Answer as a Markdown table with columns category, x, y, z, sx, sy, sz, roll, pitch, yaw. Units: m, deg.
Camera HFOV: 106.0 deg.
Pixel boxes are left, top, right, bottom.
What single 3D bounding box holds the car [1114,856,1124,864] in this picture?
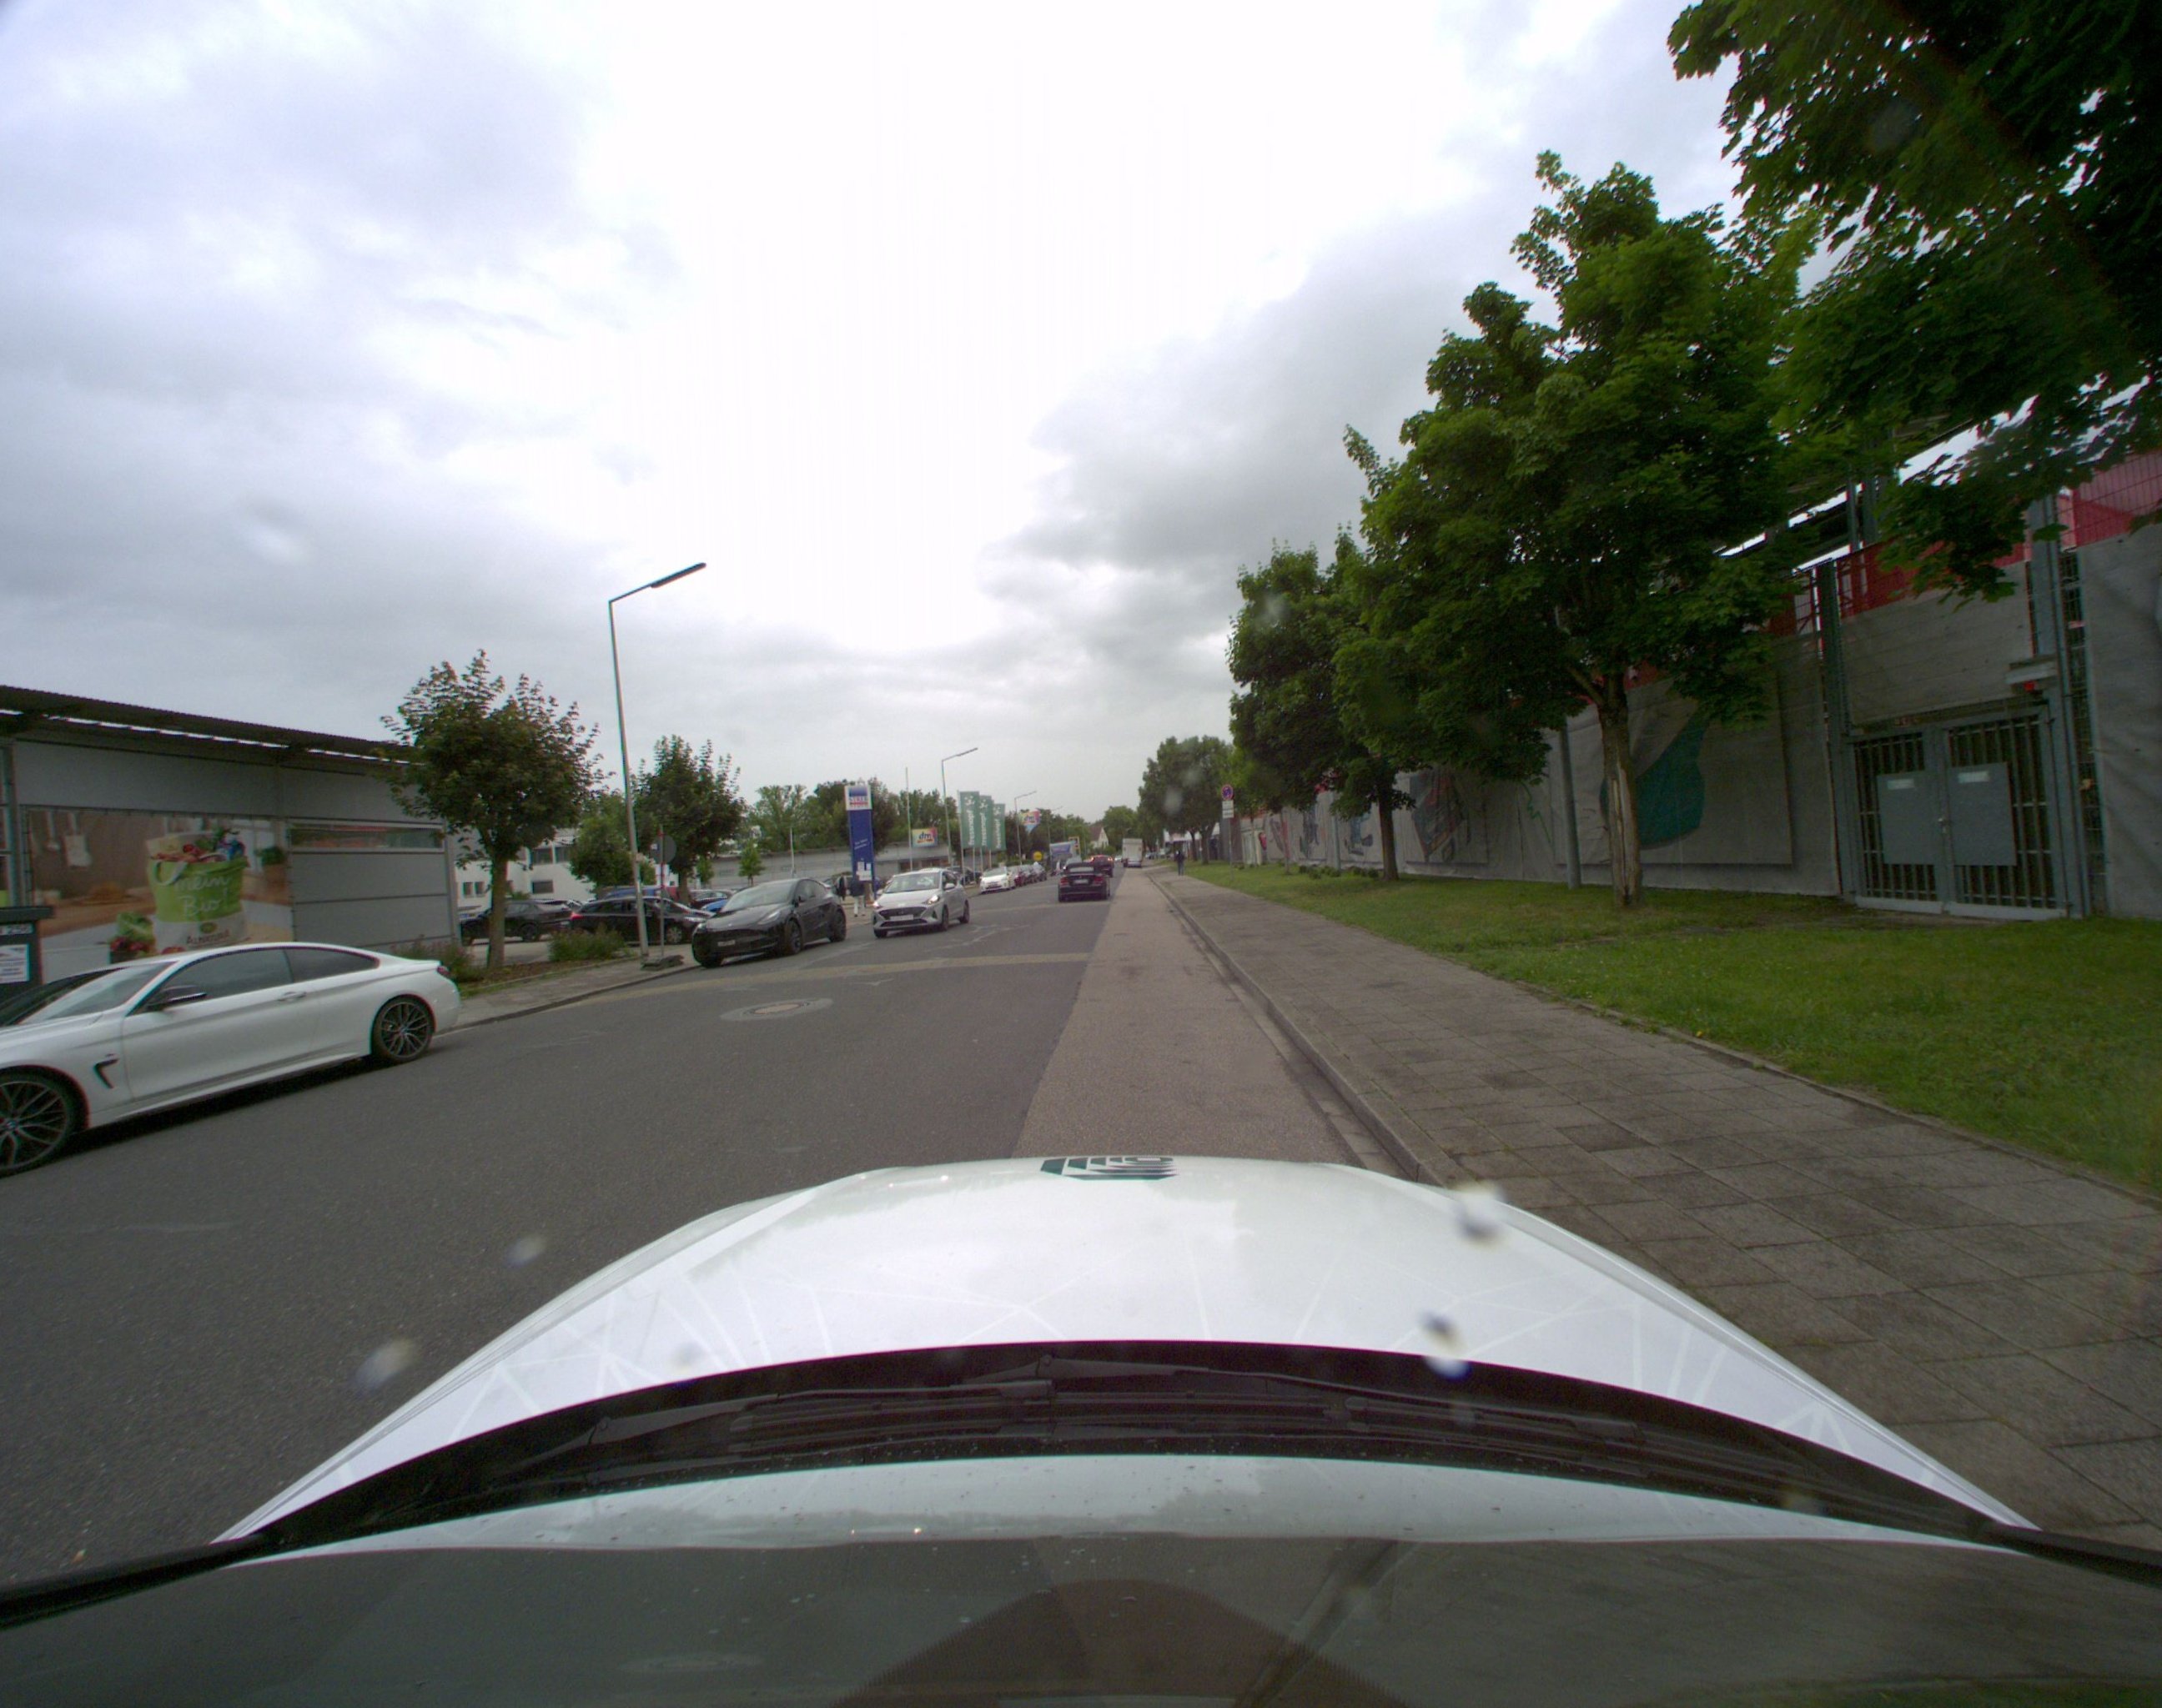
| category | x | y | z | sx | sy | sz | roll | pitch | yaw |
| --- | --- | --- | --- | --- | --- | --- | --- | --- | --- |
| car | 8.015 | 1.208 | 171.966 | 1.878 | 1.531 | 4.259 | -3 | 0 | 4 |

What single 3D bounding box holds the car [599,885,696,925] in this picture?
| category | x | y | z | sx | sy | sz | roll | pitch | yaw |
| --- | --- | --- | --- | --- | --- | --- | --- | --- | --- |
| car | -22.860 | 2.684 | 43.014 | 3.970 | 1.669 | 1.878 | -5 | 0 | 3 |

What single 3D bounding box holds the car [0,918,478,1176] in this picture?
| category | x | y | z | sx | sy | sz | roll | pitch | yaw |
| --- | --- | --- | --- | --- | --- | --- | --- | --- | --- |
| car | -7.727 | 1.514 | 6.784 | 1.692 | 1.367 | 4.521 | -9 | -1 | 3 |

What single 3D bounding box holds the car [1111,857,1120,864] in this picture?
| category | x | y | z | sx | sy | sz | roll | pitch | yaw |
| --- | --- | --- | --- | --- | --- | --- | --- | --- | --- |
| car | 7.863 | 1.450 | 187.050 | 1.878 | 1.531 | 4.259 | -3 | 0 | 4 |

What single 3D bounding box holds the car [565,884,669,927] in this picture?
| category | x | y | z | sx | sy | sz | roll | pitch | yaw |
| --- | --- | --- | --- | --- | --- | --- | --- | --- | --- |
| car | -23.083 | 2.548 | 40.607 | 3.970 | 1.669 | 1.878 | -5 | 0 | 3 |

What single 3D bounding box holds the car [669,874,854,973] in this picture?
| category | x | y | z | sx | sy | sz | roll | pitch | yaw |
| --- | --- | --- | --- | --- | --- | --- | --- | --- | --- |
| car | -6.662 | 1.370 | 17.625 | 1.940 | 1.526 | 4.404 | -9 | -1 | 2 |

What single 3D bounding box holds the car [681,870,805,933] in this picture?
| category | x | y | z | sx | sy | sz | roll | pitch | yaw |
| --- | --- | --- | --- | --- | --- | --- | --- | --- | --- |
| car | -13.039 | 1.823 | 31.639 | 3.922 | 2.013 | 1.759 | -5 | -1 | -4 |

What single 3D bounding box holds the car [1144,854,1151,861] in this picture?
| category | x | y | z | sx | sy | sz | roll | pitch | yaw |
| --- | --- | --- | --- | --- | --- | --- | --- | --- | --- |
| car | 18.040 | 0.925 | 221.014 | 1.878 | 1.683 | 4.259 | -3 | 0 | 4 |

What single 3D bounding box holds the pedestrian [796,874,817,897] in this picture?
| category | x | y | z | sx | sy | sz | roll | pitch | yaw |
| --- | --- | --- | --- | --- | --- | --- | --- | --- | --- |
| pedestrian | -26.048 | 2.972 | 77.275 | 1.394 | 2.013 | 1.197 | -5 | -1 | -37 |

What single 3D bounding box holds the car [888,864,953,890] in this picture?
| category | x | y | z | sx | sy | sz | roll | pitch | yaw |
| --- | --- | --- | --- | --- | --- | --- | --- | --- | --- |
| car | -11.325 | 1.613 | 57.658 | 4.125 | 1.463 | 1.897 | -5 | -1 | -2 |

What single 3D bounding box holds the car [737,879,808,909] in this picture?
| category | x | y | z | sx | sy | sz | roll | pitch | yaw |
| --- | --- | --- | --- | --- | --- | --- | --- | --- | --- |
| car | -21.095 | 2.721 | 55.764 | 3.970 | 1.669 | 1.878 | -5 | 0 | 3 |

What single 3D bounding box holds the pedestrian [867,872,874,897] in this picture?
| category | x | y | z | sx | sy | sz | roll | pitch | yaw |
| --- | --- | --- | --- | --- | --- | --- | --- | --- | --- |
| pedestrian | -13.835 | 1.999 | 53.466 | 0.329 | 1.570 | 0.502 | -3 | -1 | -8 |

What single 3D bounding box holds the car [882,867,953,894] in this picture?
| category | x | y | z | sx | sy | sz | roll | pitch | yaw |
| --- | --- | --- | --- | --- | --- | --- | --- | --- | --- |
| car | -10.543 | 1.679 | 52.825 | 4.195 | 1.463 | 1.950 | -3 | -1 | -4 |

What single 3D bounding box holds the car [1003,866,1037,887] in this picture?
| category | x | y | z | sx | sy | sz | roll | pitch | yaw |
| --- | --- | --- | --- | --- | --- | --- | --- | --- | --- |
| car | -4.633 | 1.707 | 62.276 | 1.890 | 1.367 | 4.004 | -5 | 0 | 4 |

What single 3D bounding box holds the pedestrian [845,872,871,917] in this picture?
| category | x | y | z | sx | sy | sz | roll | pitch | yaw |
| --- | --- | --- | --- | --- | --- | --- | --- | --- | --- |
| pedestrian | -8.928 | 1.616 | 32.624 | 0.773 | 1.715 | 0.696 | -4 | -1 | -1 |

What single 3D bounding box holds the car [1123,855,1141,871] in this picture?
| category | x | y | z | sx | sy | sz | roll | pitch | yaw |
| --- | --- | --- | --- | --- | --- | --- | --- | --- | --- |
| car | 6.274 | 1.133 | 100.518 | 1.986 | 1.806 | 4.002 | -3 | -1 | 2 |

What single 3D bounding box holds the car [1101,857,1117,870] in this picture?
| category | x | y | z | sx | sy | sz | roll | pitch | yaw |
| --- | --- | --- | --- | --- | --- | --- | --- | --- | --- |
| car | 3.646 | 1.192 | 106.824 | 1.878 | 1.531 | 4.259 | -3 | 0 | 4 |

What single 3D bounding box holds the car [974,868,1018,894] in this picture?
| category | x | y | z | sx | sy | sz | roll | pitch | yaw |
| --- | --- | --- | --- | --- | --- | --- | --- | --- | --- |
| car | -5.186 | 1.623 | 50.150 | 1.890 | 1.367 | 4.004 | -5 | 0 | 4 |

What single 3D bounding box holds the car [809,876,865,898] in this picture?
| category | x | y | z | sx | sy | sz | roll | pitch | yaw |
| --- | --- | --- | --- | --- | --- | --- | --- | --- | --- |
| car | -20.485 | 2.749 | 68.450 | 3.969 | 1.492 | 1.788 | -5 | -1 | 4 |

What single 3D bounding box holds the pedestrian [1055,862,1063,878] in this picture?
| category | x | y | z | sx | sy | sz | roll | pitch | yaw |
| --- | --- | --- | --- | --- | --- | --- | --- | --- | --- |
| pedestrian | -2.305 | 1.698 | 84.886 | 0.628 | 1.636 | 0.668 | -5 | -1 | 2 |

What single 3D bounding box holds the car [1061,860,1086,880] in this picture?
| category | x | y | z | sx | sy | sz | roll | pitch | yaw |
| --- | --- | --- | --- | --- | --- | --- | --- | --- | --- |
| car | -0.642 | 1.486 | 74.913 | 1.986 | 1.684 | 4.002 | -3 | -1 | 2 |

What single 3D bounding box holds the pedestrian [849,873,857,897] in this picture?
| category | x | y | z | sx | sy | sz | roll | pitch | yaw |
| --- | --- | --- | --- | --- | --- | --- | --- | --- | --- |
| pedestrian | -15.031 | 2.052 | 53.673 | 0.359 | 1.570 | 0.503 | -4 | -1 | -7 |

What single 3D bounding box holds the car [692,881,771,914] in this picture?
| category | x | y | z | sx | sy | sz | roll | pitch | yaw |
| --- | --- | --- | --- | --- | --- | --- | --- | --- | --- |
| car | -21.843 | 2.712 | 50.944 | 3.970 | 1.669 | 1.878 | -5 | 0 | 3 |

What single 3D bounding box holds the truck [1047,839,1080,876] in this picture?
| category | x | y | z | sx | sy | sz | roll | pitch | yaw |
| --- | --- | --- | --- | --- | --- | --- | --- | --- | --- |
| truck | -1.966 | 0.386 | 95.751 | 2.961 | 3.955 | 6.411 | -6 | 0 | 4 |

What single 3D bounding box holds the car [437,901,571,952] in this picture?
| category | x | y | z | sx | sy | sz | roll | pitch | yaw |
| --- | --- | --- | --- | --- | --- | --- | --- | --- | --- |
| car | -22.484 | 2.796 | 31.939 | 4.012 | 1.485 | 1.858 | -4 | -1 | -30 |

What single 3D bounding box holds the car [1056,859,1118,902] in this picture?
| category | x | y | z | sx | sy | sz | roll | pitch | yaw |
| --- | --- | --- | --- | --- | --- | --- | --- | --- | --- |
| car | 0.291 | 0.941 | 30.004 | 1.736 | 1.358 | 4.146 | -4 | -1 | 7 |

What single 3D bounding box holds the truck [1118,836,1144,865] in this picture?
| category | x | y | z | sx | sy | sz | roll | pitch | yaw |
| --- | --- | --- | --- | --- | --- | --- | --- | --- | --- |
| truck | 6.697 | -0.400 | 109.873 | 3.123 | 3.585 | 10.055 | -3 | -1 | 2 |

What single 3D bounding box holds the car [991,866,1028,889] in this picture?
| category | x | y | z | sx | sy | sz | roll | pitch | yaw |
| --- | --- | --- | --- | --- | --- | --- | --- | --- | --- |
| car | -4.944 | 1.637 | 56.787 | 1.890 | 1.367 | 4.004 | -5 | 0 | 4 |

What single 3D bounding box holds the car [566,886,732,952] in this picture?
| category | x | y | z | sx | sy | sz | roll | pitch | yaw |
| --- | --- | --- | --- | --- | --- | --- | --- | --- | --- |
| car | -12.798 | 1.903 | 24.290 | 3.857 | 1.620 | 1.929 | -3 | 0 | 3 |

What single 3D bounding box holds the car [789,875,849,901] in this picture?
| category | x | y | z | sx | sy | sz | roll | pitch | yaw |
| --- | --- | --- | --- | --- | --- | --- | --- | --- | --- |
| car | -20.675 | 2.671 | 64.467 | 3.970 | 1.669 | 1.878 | -5 | 0 | 3 |

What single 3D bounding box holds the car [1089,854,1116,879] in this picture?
| category | x | y | z | sx | sy | sz | roll | pitch | yaw |
| --- | --- | --- | --- | --- | --- | --- | --- | --- | --- |
| car | 1.575 | 0.873 | 59.633 | 1.676 | 1.632 | 3.756 | -5 | 0 | -1 |

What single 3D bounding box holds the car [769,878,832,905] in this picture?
| category | x | y | z | sx | sy | sz | roll | pitch | yaw |
| --- | --- | --- | --- | --- | --- | --- | --- | --- | --- |
| car | -21.322 | 2.820 | 62.045 | 3.970 | 1.669 | 1.878 | -5 | 0 | 3 |

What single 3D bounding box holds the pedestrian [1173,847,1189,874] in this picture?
| category | x | y | z | sx | sy | sz | roll | pitch | yaw |
| --- | --- | --- | --- | --- | --- | --- | --- | --- | --- |
| pedestrian | 6.355 | 0.426 | 51.661 | 0.914 | 1.635 | 0.854 | -3 | -1 | 5 |

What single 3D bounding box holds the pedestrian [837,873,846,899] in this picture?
| category | x | y | z | sx | sy | sz | roll | pitch | yaw |
| --- | --- | --- | --- | --- | --- | --- | --- | --- | --- |
| pedestrian | -15.760 | 2.115 | 53.576 | 0.456 | 1.642 | 0.372 | -4 | -1 | -14 |

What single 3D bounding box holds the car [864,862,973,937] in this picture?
| category | x | y | z | sx | sy | sz | roll | pitch | yaw |
| --- | --- | --- | --- | --- | --- | --- | --- | --- | --- |
| car | -3.895 | 1.050 | 20.062 | 1.592 | 1.528 | 3.532 | -6 | -1 | 4 |

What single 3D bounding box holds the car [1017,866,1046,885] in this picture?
| category | x | y | z | sx | sy | sz | roll | pitch | yaw |
| --- | --- | --- | --- | --- | --- | --- | --- | --- | --- |
| car | -4.108 | 1.772 | 68.163 | 1.890 | 1.367 | 4.004 | -5 | 0 | 4 |

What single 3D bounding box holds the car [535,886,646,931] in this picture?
| category | x | y | z | sx | sy | sz | roll | pitch | yaw |
| --- | --- | --- | --- | --- | --- | --- | --- | --- | --- |
| car | -23.058 | 2.557 | 38.378 | 3.970 | 1.669 | 1.878 | -5 | 0 | 3 |
